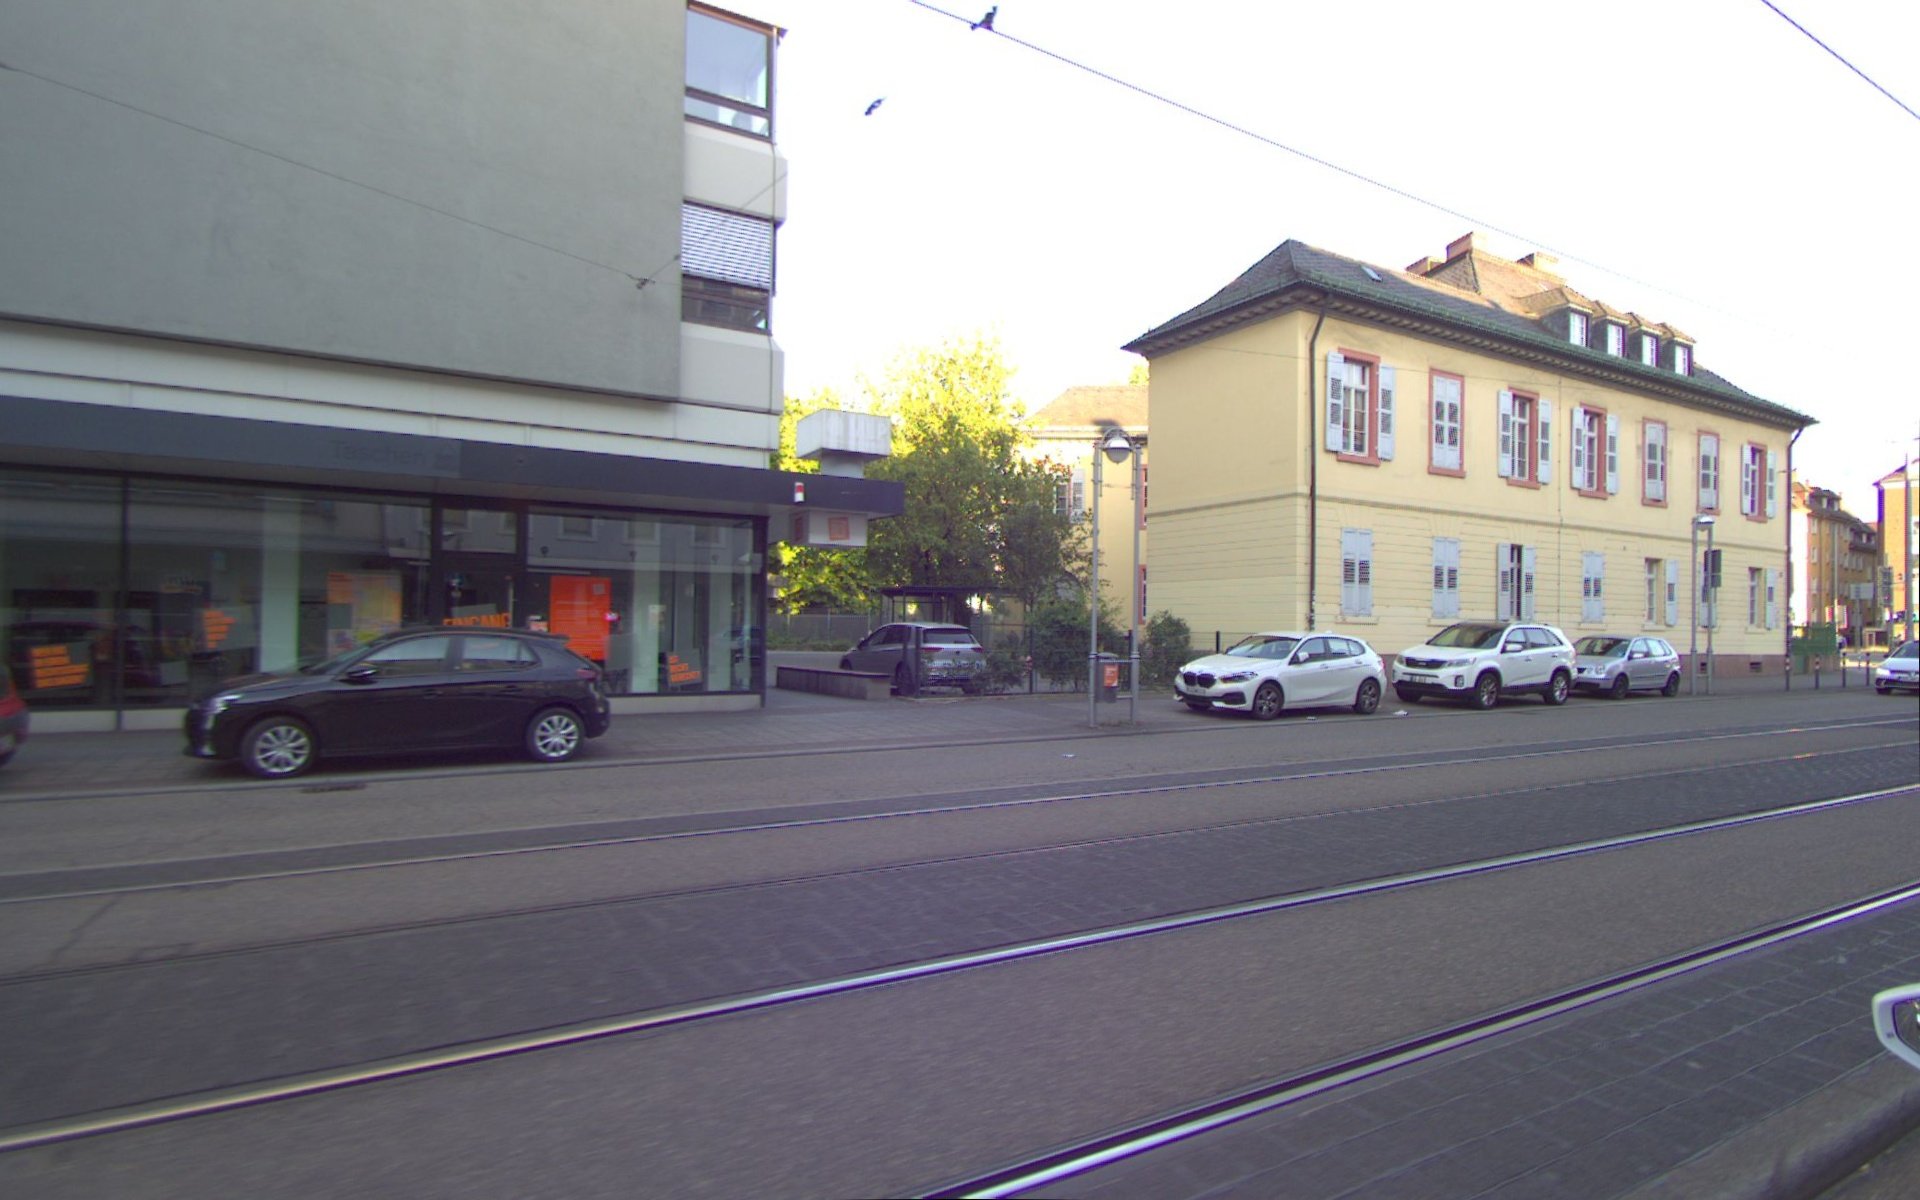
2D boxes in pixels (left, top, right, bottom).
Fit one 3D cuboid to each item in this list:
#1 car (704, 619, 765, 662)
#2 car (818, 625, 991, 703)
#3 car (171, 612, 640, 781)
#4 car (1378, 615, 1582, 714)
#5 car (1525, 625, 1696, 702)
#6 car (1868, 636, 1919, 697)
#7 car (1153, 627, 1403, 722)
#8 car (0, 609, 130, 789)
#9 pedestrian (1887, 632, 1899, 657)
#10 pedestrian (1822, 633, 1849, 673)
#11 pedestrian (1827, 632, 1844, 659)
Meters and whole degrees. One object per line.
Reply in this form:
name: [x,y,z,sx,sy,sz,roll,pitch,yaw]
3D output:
car: [-8.512,1.514,38.212,1.726,1.505,3.998,1,-1,-5]
car: [-1.276,1.292,21.434,1.829,1.486,3.959,2,-2,-36]
car: [-5.834,0.941,11.002,4.165,1.532,1.678,2,0,-30]
car: [10.932,1.295,21.033,4.450,1.809,1.802,2,1,-33]
car: [15.684,1.463,24.179,4.166,1.639,1.803,1,1,-31]
car: [26.231,1.768,27.063,3.995,1.532,1.794,2,-2,-35]
car: [5.776,1.282,18.143,4.378,1.532,1.805,1,-2,-29]
car: [-9.947,0.822,8.548,4.165,1.532,1.678,1,-1,-30]
pedestrian: [70.156,3.347,75.517,0.557,1.893,0.499,1,1,-35]
pedestrian: [36.182,2.169,41.497,0.947,1.605,0.725,2,-2,-40]
pedestrian: [62.137,3.214,71.266,0.871,1.892,0.972,0,-2,39]
